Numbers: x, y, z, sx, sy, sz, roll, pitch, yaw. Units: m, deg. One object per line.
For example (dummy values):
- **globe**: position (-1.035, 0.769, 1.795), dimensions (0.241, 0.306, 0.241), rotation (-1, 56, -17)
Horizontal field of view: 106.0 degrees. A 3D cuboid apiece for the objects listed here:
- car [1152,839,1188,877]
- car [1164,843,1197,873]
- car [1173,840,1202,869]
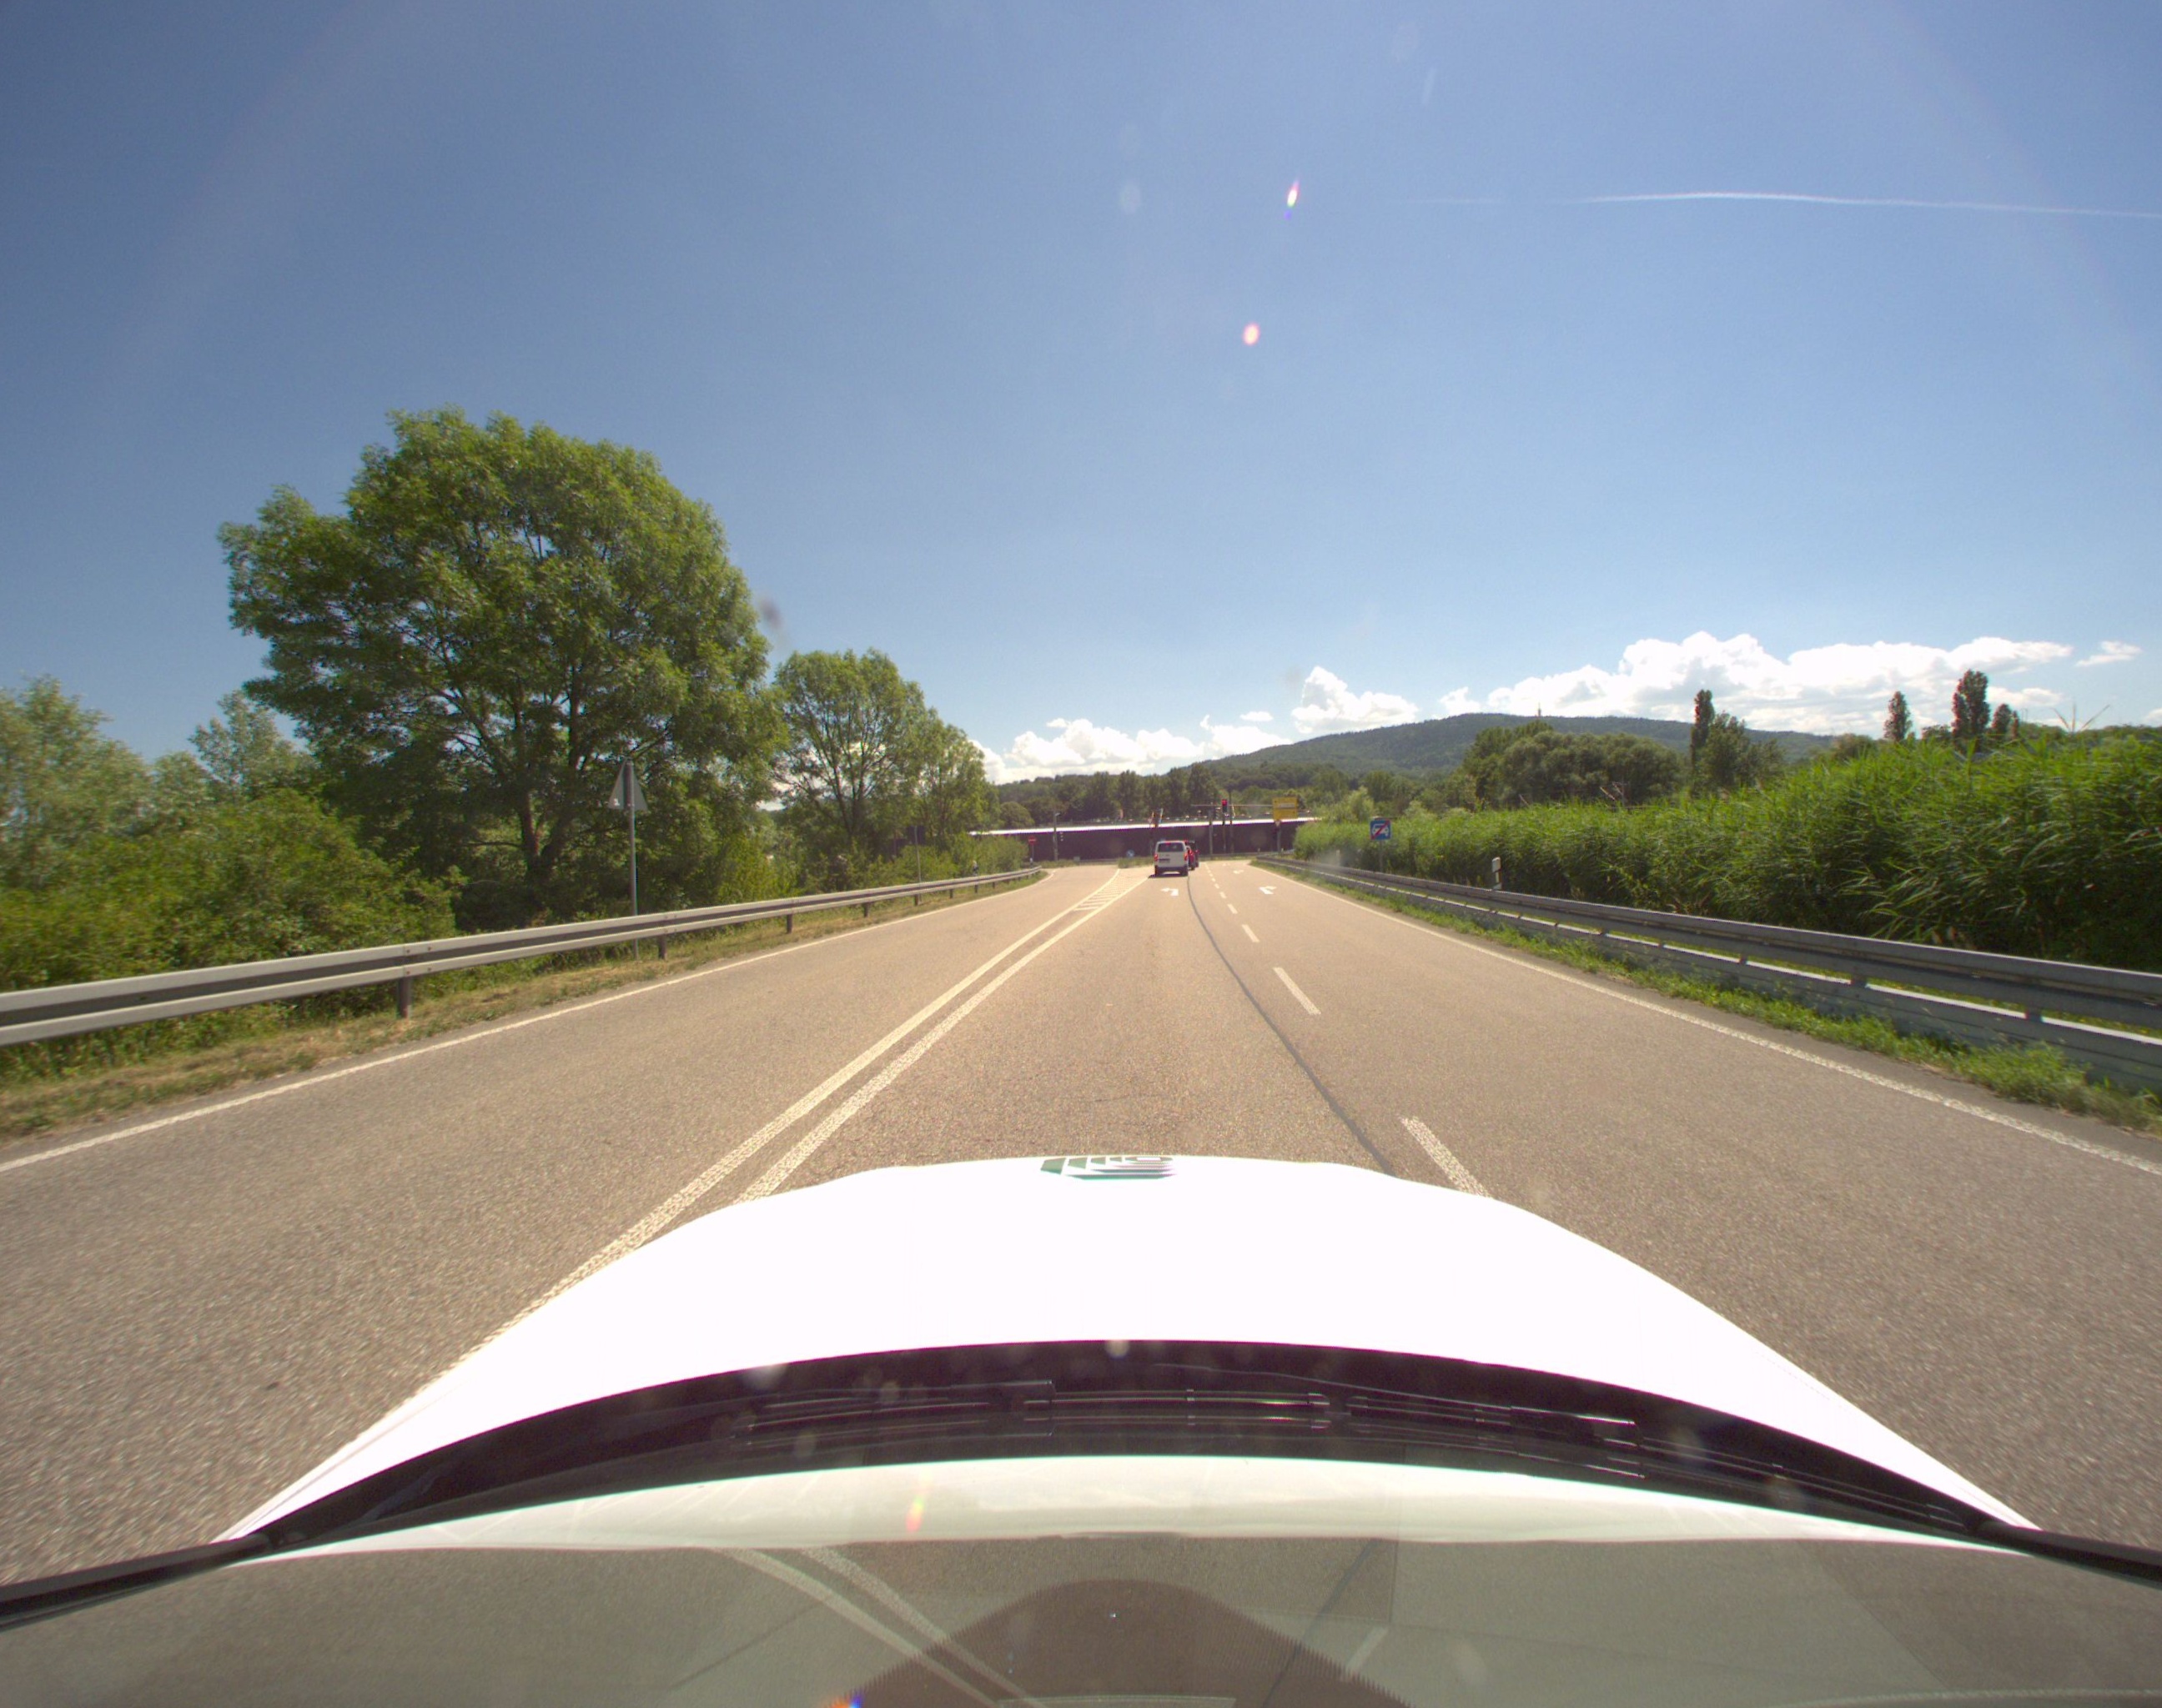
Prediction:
- **car**: position (5.022, 0.212, 45.565), dimensions (1.860, 1.964, 4.009), rotation (-2, 0, 8)
- **car**: position (6.790, 0.272, 55.250), dimensions (1.982, 1.812, 4.009), rotation (-4, 0, 8)
- **car**: position (8.179, 0.023, 62.439), dimensions (1.982, 2.013, 4.009), rotation (-4, 0, 8)
